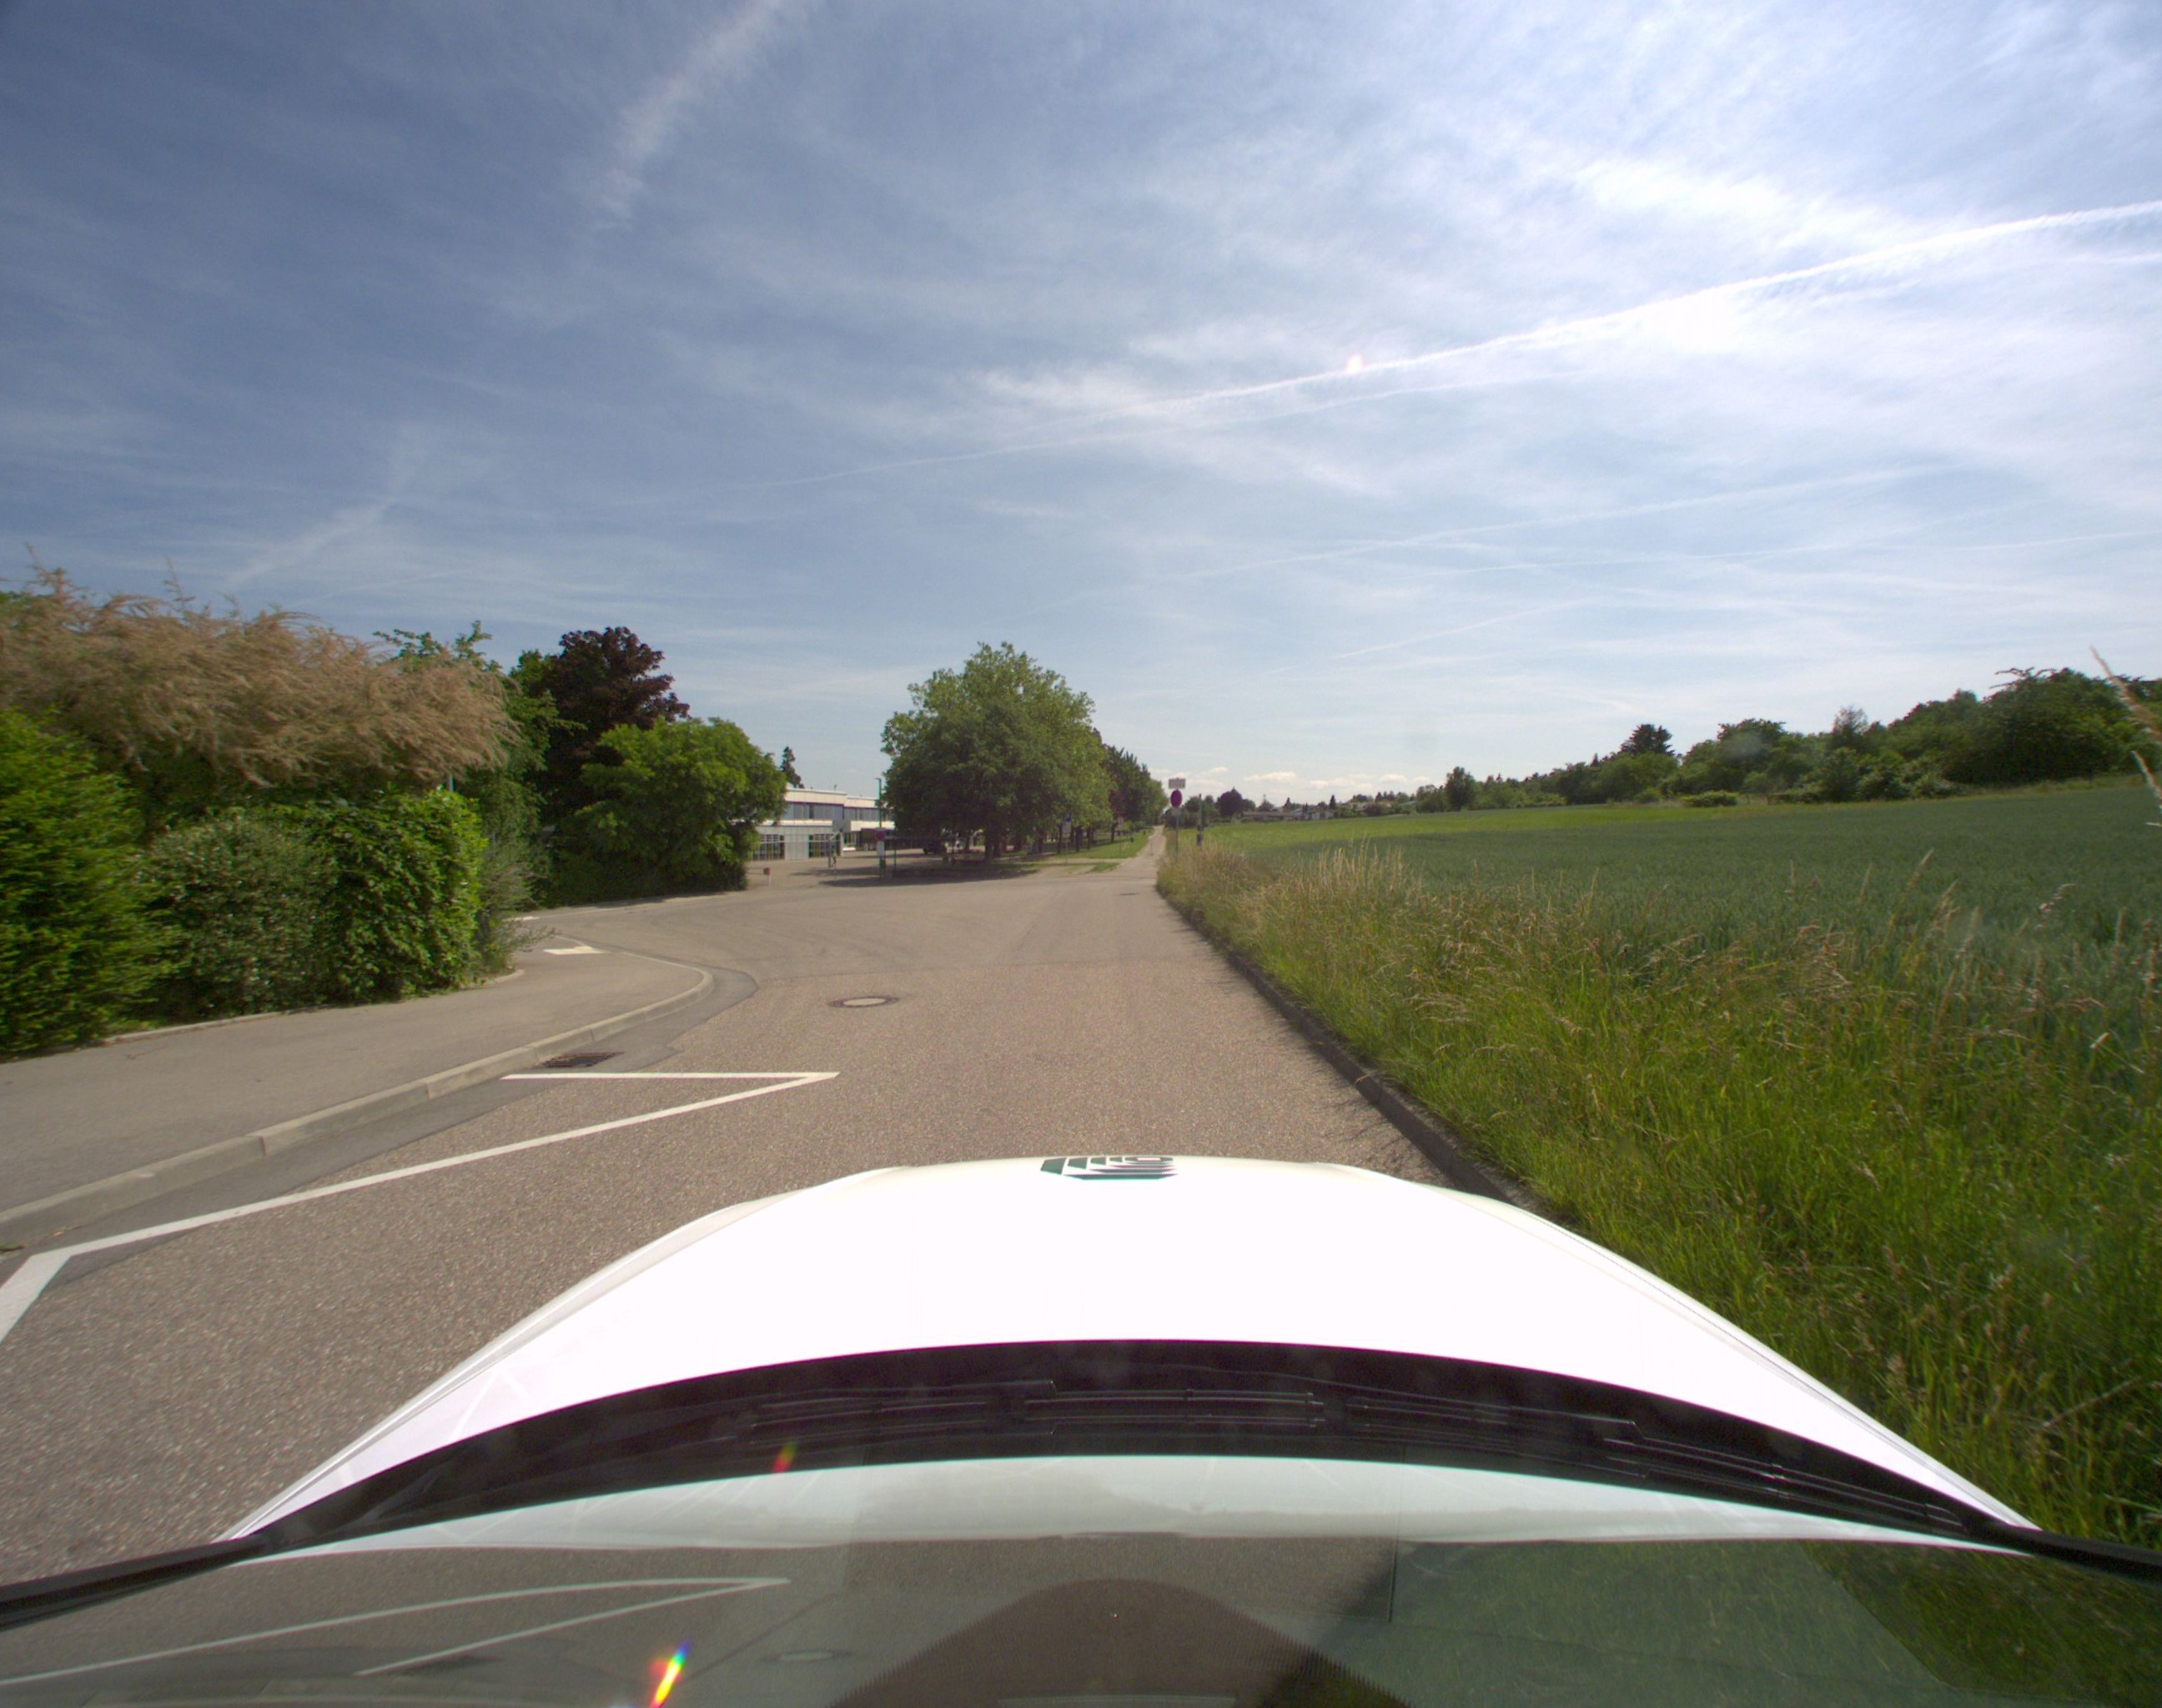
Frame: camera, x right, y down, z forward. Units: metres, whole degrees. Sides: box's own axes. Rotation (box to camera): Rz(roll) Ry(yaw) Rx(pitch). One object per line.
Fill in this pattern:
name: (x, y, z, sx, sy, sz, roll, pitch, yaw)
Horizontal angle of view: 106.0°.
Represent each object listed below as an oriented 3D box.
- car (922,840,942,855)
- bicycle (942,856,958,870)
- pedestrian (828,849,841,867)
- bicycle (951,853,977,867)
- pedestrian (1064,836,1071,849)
car: (-19.204, -0.887, 104.952, 1.684, 1.834, 3.414, -1, 1, 3)
bicycle: (-10.536, 0.680, 65.463, 0.590, 1.039, 1.899, -2, 1, 13)
pedestrian: (-20.596, 0.321, 68.098, 1.068, 1.423, 0.914, -1, 1, -17)
bicycle: (-9.703, 0.468, 67.425, 2.057, 1.039, 0.571, -2, 1, -3)
pedestrian: (-2.080, -1.781, 123.669, 0.686, 2.013, 0.796, -1, 1, -28)
